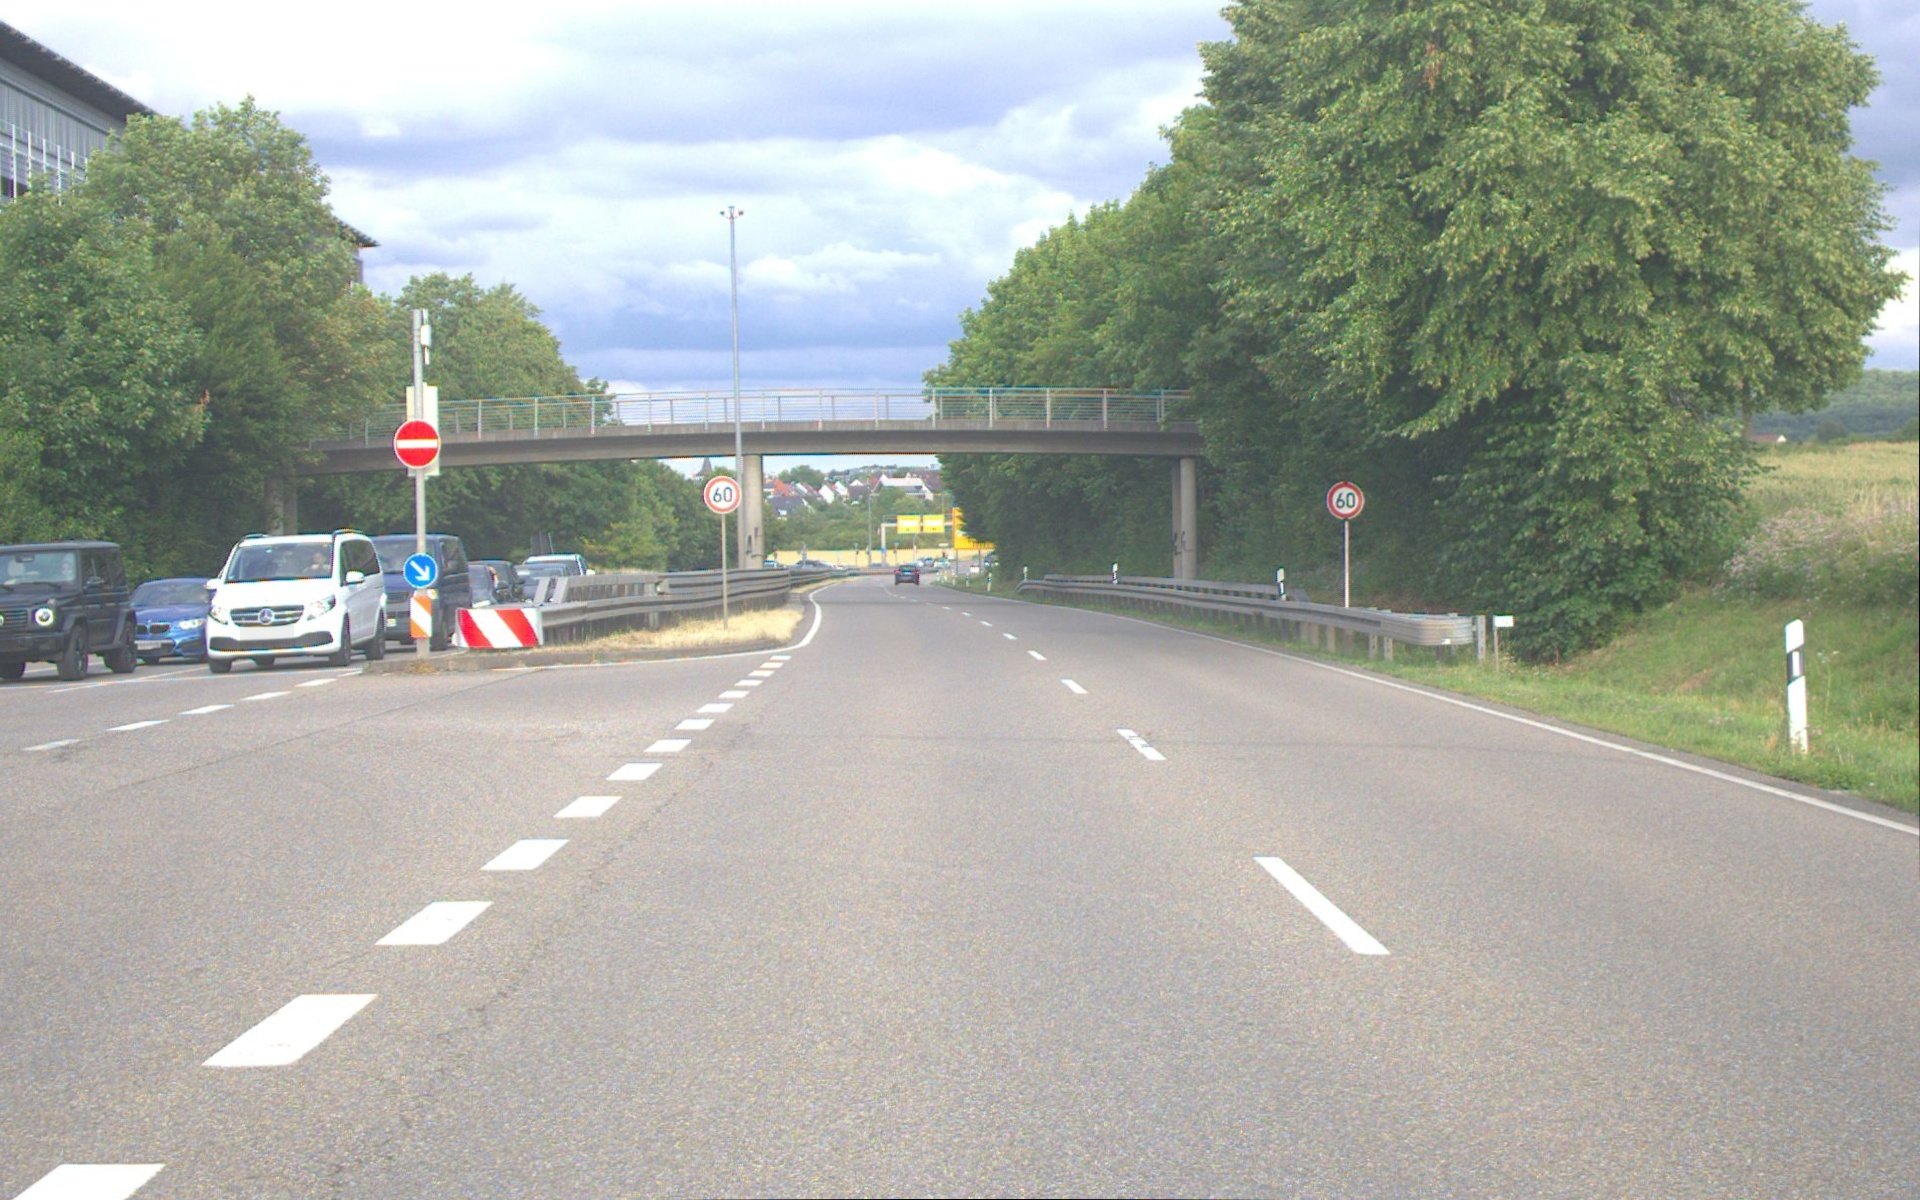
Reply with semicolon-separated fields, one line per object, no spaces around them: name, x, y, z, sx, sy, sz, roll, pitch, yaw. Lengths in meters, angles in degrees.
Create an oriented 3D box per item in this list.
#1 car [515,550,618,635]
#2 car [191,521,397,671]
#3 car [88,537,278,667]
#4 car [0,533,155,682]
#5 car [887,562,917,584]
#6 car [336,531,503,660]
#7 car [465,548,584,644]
car;-9.741;-0.203;85.534;2.083;2.007;5.217;1;0;-2
car;-9.484;-0.082;49.356;2.083;2.007;5.217;1;0;-2
car;-12.749;0.004;56.747;2.083;2.007;5.217;1;0;-2
car;-13.118;0.065;49.247;2.083;2.007;5.217;1;0;-2
car;-4.341;-2.008;255.647;1.879;1.547;4.001;1;0;-5
car;-8.905;-0.099;57.093;2.083;2.007;5.217;1;0;-2
car;-9.540;-0.110;75.640;2.083;2.007;5.217;1;0;-2
